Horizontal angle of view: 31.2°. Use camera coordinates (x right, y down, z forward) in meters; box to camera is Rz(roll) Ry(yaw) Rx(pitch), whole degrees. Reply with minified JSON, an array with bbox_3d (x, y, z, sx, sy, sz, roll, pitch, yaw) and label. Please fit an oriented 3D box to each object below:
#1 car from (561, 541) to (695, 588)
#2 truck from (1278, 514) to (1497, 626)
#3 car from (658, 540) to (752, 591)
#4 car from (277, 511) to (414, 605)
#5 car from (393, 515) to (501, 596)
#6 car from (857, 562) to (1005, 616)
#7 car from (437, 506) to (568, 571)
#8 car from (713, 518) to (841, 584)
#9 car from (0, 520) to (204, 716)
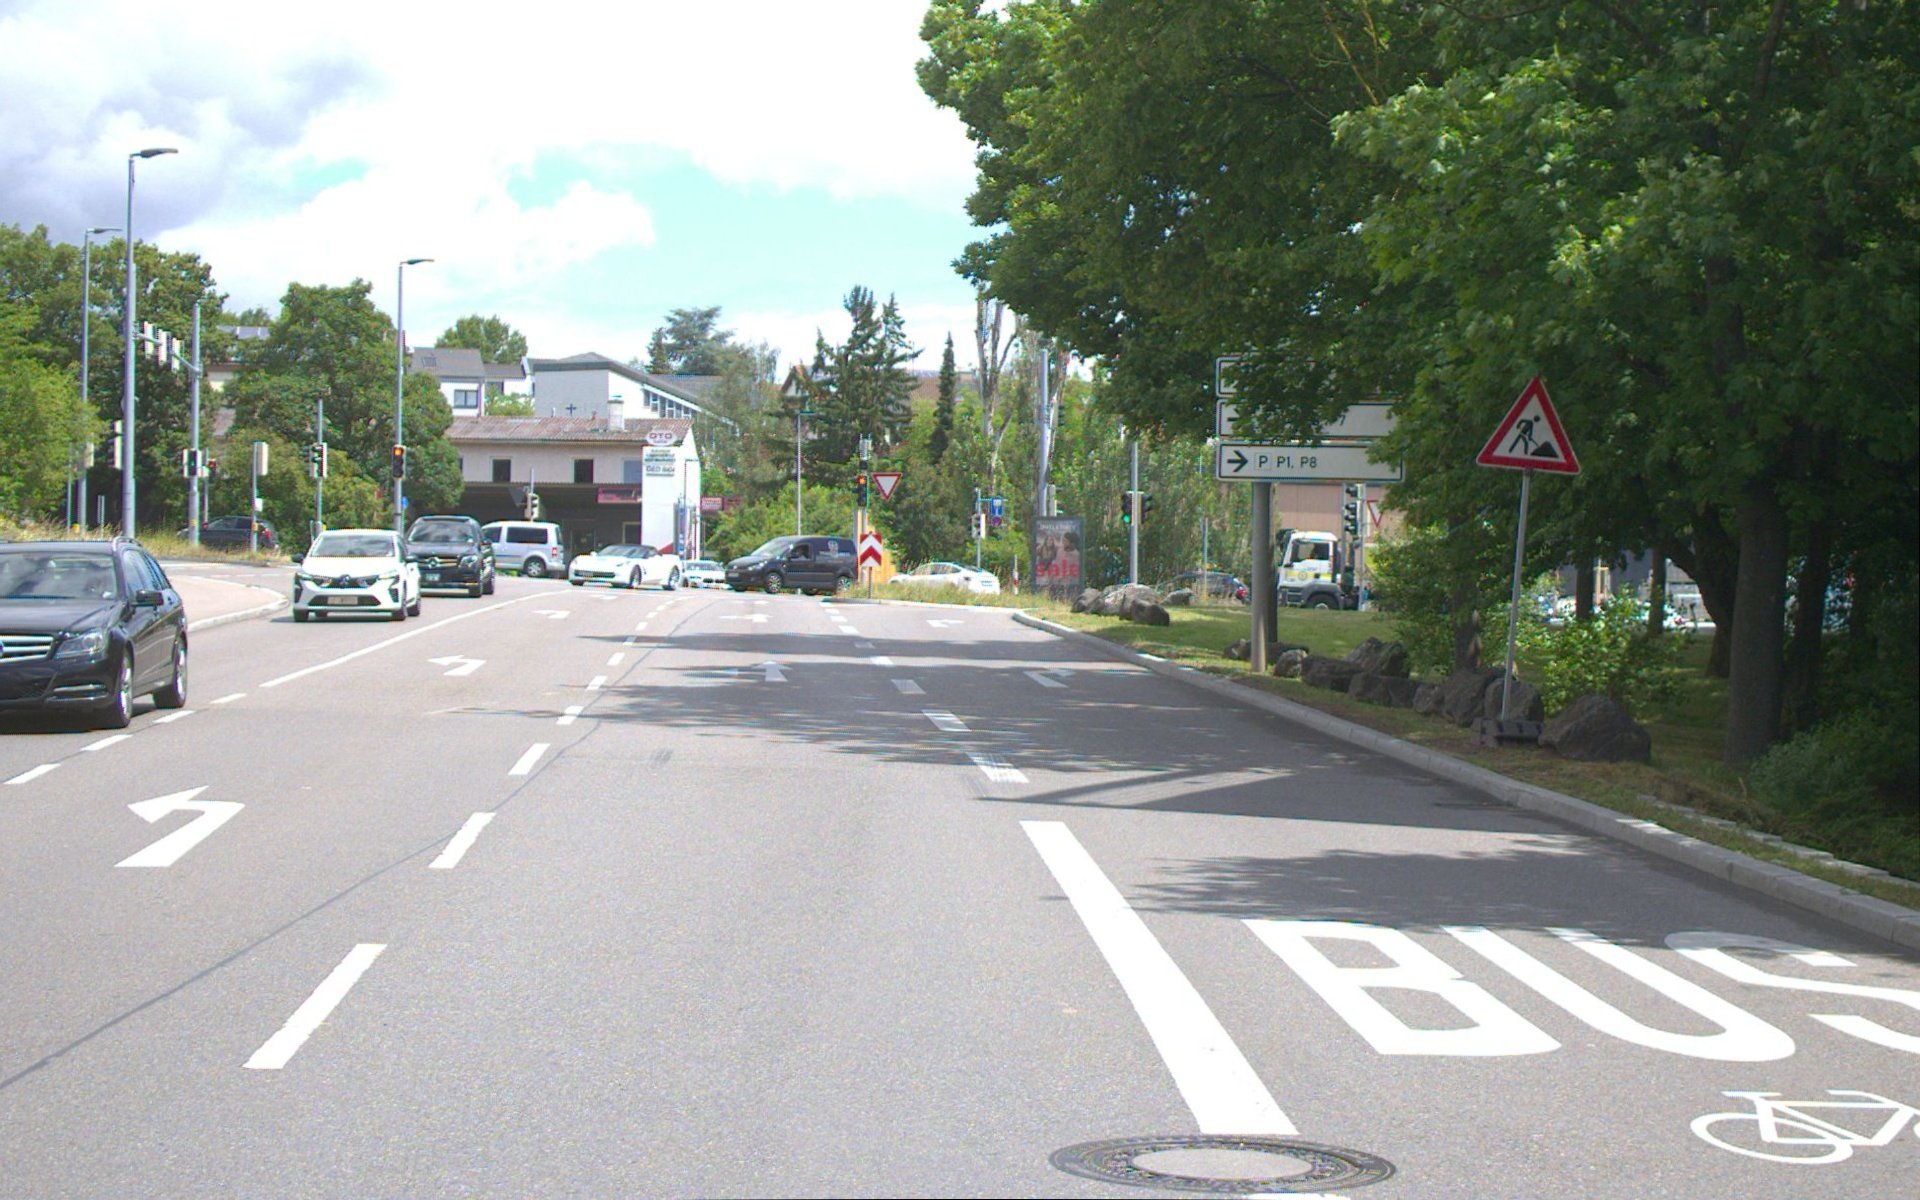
[{"bbox_3d":[-9.222,-0.994,95.798,1.906,1.287,4.604,0,1,20],"label":"car"},{"bbox_3d":[14.263,-0.987,115.115,6.944,3.567,2.847,-1,0,1],"label":"truck"},{"bbox_3d":[-9.799,-1.322,131.940,1.899,1.853,3.810,-1,0,-34],"label":"car"},{"bbox_3d":[-9.768,-0.672,54.886,1.766,1.437,3.900,0,1,-4],"label":"car"},{"bbox_3d":[-10.745,-0.943,72.252,1.821,1.648,4.533,0,1,-3],"label":"car"},{"bbox_3d":[-1.022,-0.378,120.224,4.801,1.773,1.788,1,-1,23],"label":"car"},{"bbox_3d":[-14.922,-1.990,112.312,3.987,2.007,2.000,-1,0,-1],"label":"car"},{"bbox_3d":[-5.465,-1.461,103.412,1.787,1.773,4.804,1,-1,24],"label":"car"},{"bbox_3d":[-7.246,0.109,27.445,1.766,1.437,4.378,0,1,-4],"label":"car"}]
